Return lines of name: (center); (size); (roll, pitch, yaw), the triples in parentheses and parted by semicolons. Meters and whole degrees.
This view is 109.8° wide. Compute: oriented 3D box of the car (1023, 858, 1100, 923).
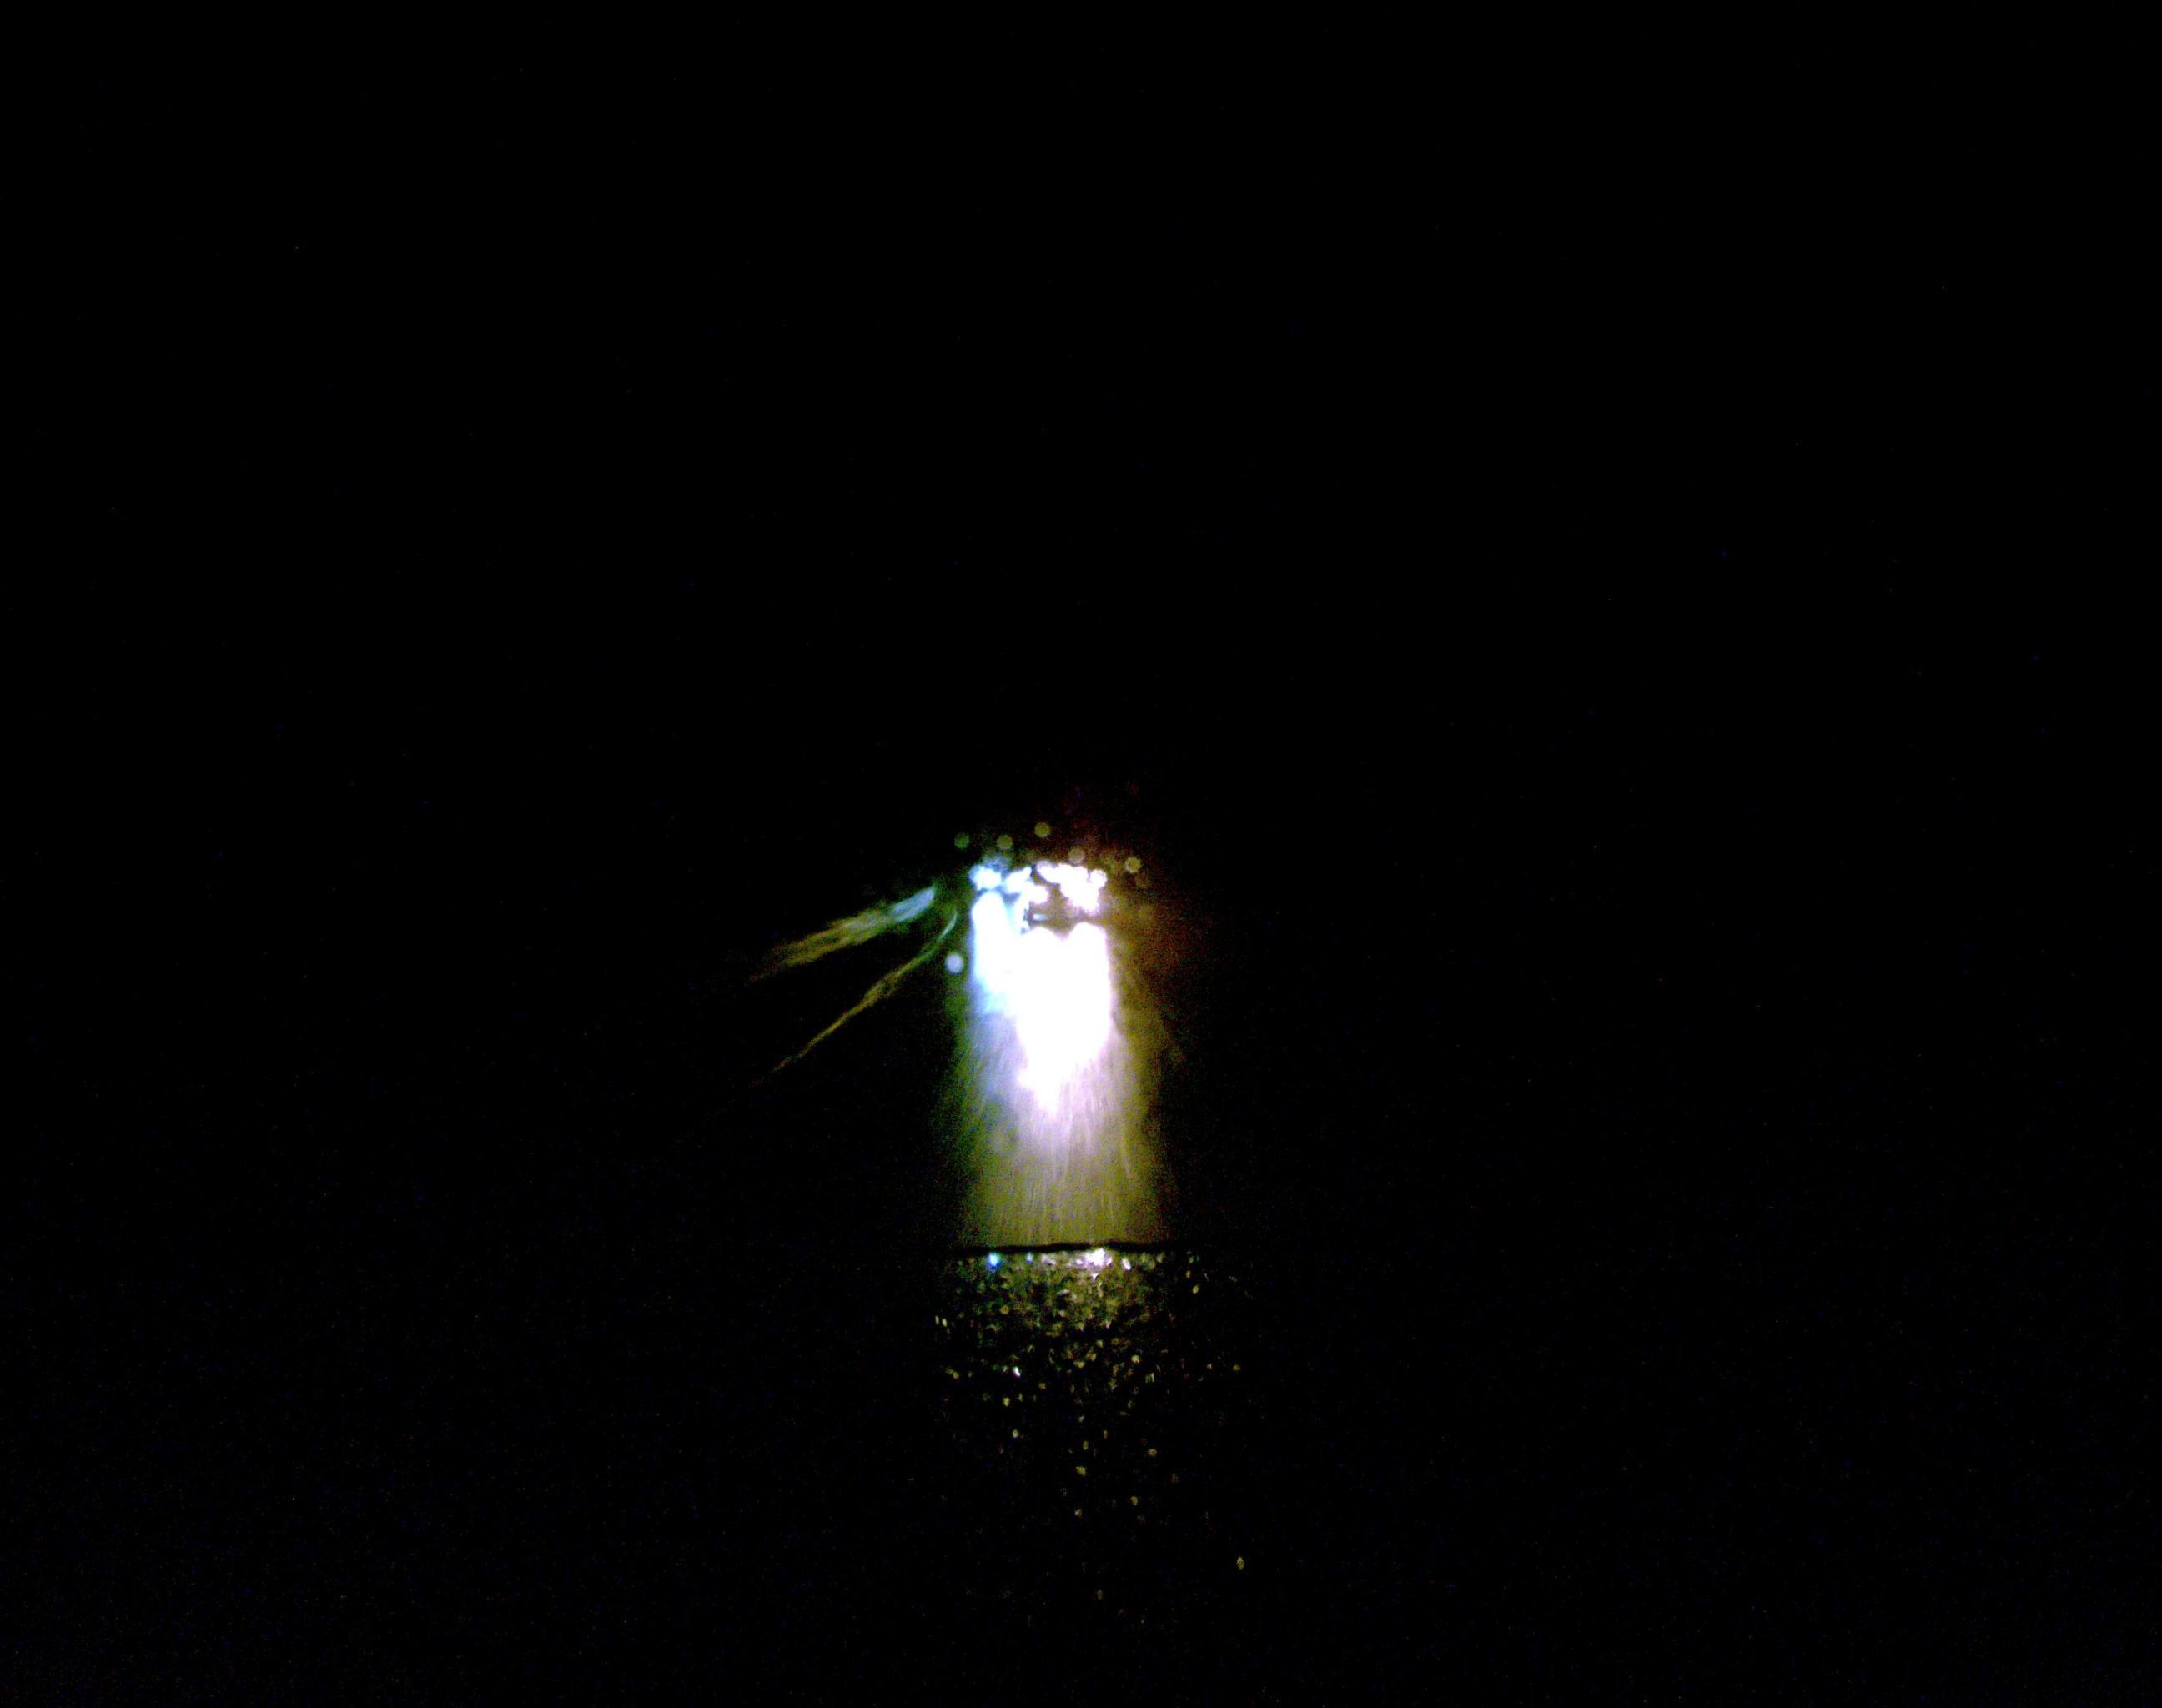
car: (-0.633, 0.931, 21.046); (1.850, 1.441, 3.997); (-3, 1, -5)

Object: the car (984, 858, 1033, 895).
car: (-3.337, 0.968, 34.355); (1.851, 1.441, 3.871); (-3, 1, -10)
